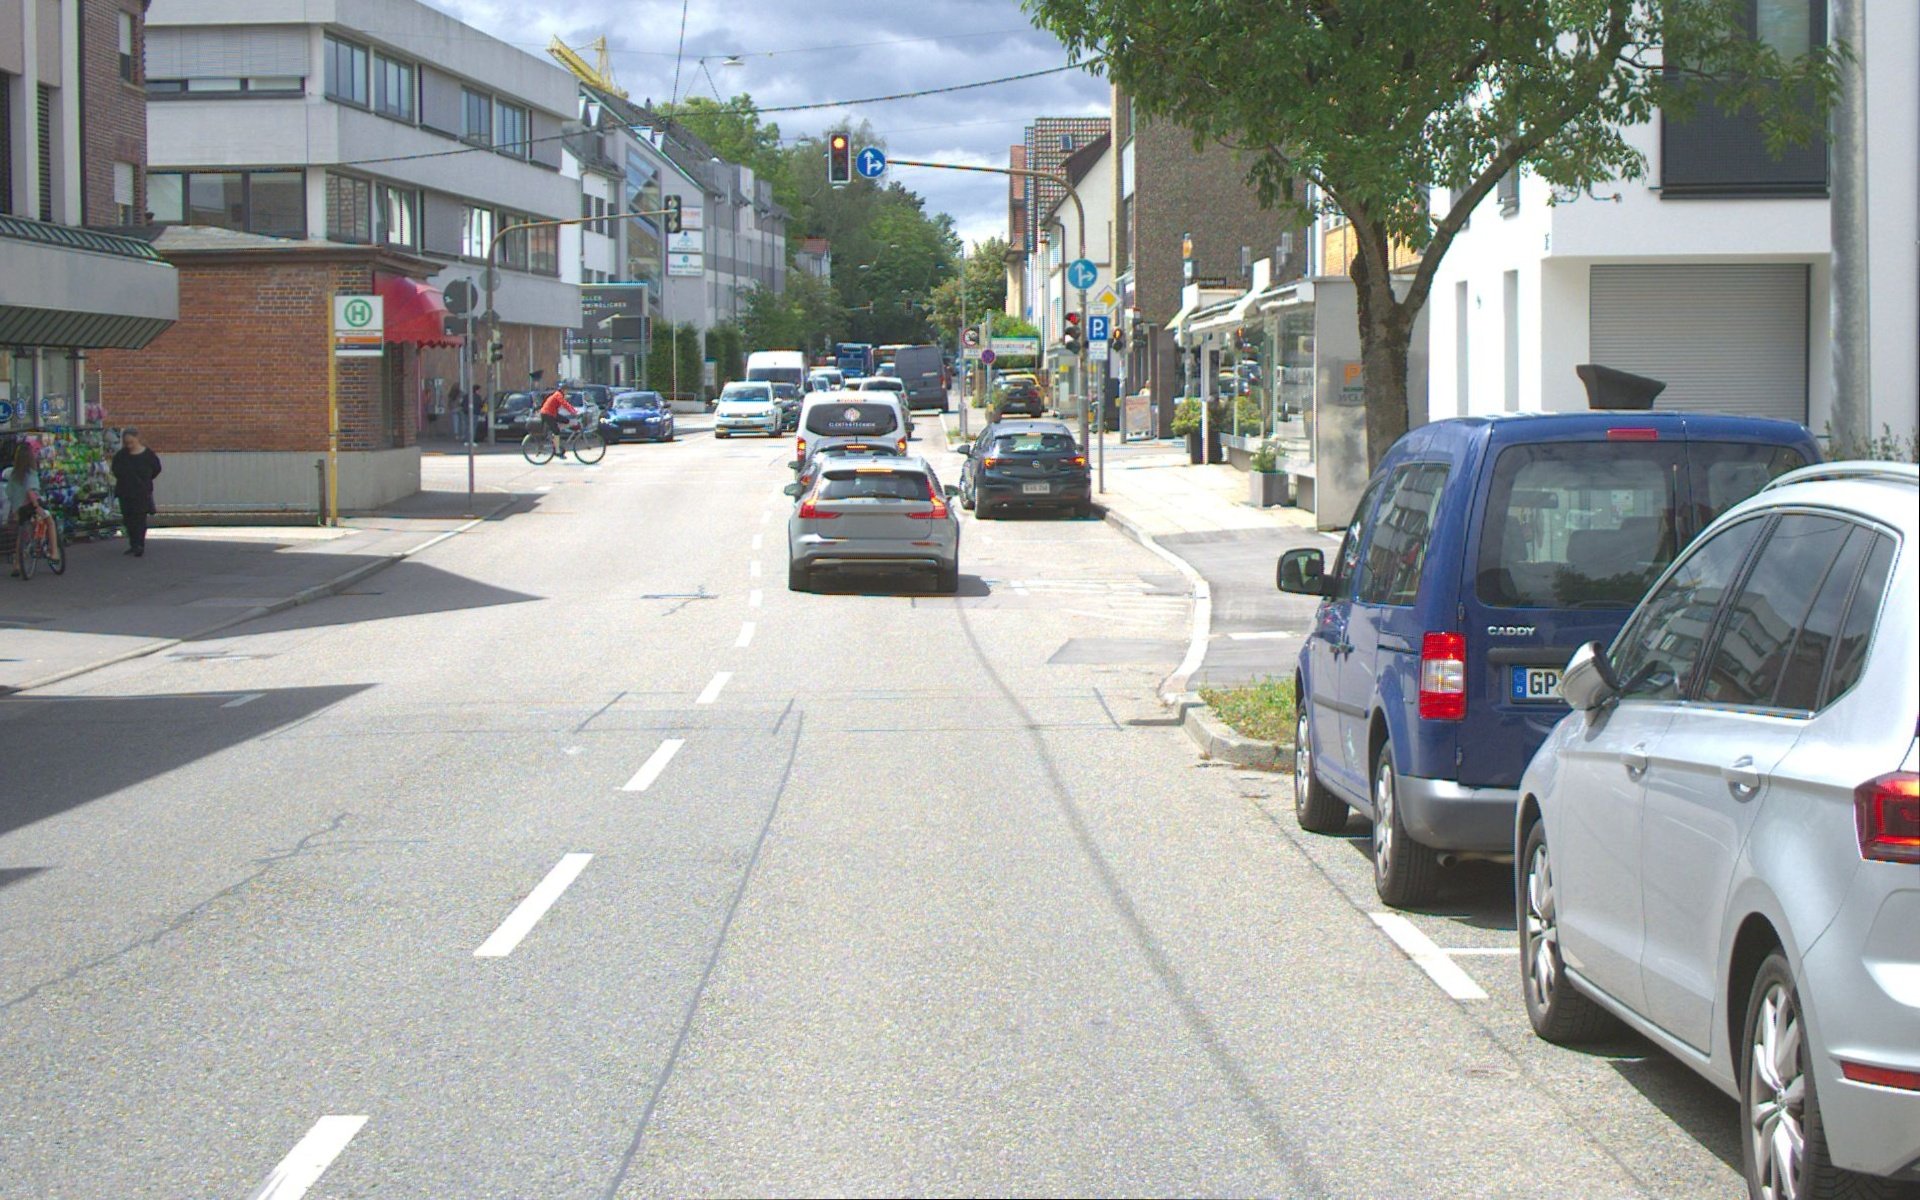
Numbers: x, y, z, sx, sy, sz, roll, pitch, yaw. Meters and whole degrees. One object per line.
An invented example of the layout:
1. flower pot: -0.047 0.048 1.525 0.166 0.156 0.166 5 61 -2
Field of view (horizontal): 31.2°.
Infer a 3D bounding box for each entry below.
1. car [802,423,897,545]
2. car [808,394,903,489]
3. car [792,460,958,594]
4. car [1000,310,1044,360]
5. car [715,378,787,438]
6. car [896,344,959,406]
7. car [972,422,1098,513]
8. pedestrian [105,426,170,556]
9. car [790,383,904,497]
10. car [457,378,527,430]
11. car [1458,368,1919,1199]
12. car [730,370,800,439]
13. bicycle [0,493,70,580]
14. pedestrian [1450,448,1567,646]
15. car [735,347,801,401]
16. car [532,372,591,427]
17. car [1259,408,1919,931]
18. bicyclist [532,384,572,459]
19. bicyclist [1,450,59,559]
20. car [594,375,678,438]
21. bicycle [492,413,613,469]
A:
1. car: -1.538 -1.650 48.144 1.273 1.522 3.051 -1 5 -1
2. car: -2.082 -3.188 69.496 1.836 1.855 3.851 0 2 -1
3. car: -0.927 -0.847 38.486 1.744 1.412 4.001 -1 2 -1
4. car: 2.733 -11.704 151.913 1.802 2.007 4.000 0 1 -1
5. car: -6.127 -5.649 101.284 1.873 1.634 4.001 1 2 -1
6. car: -1.327 -9.014 138.156 2.436 2.310 5.327 1 2 -1
7. car: 1.153 -2.128 54.409 1.753 1.366 4.001 0 3 -2
8. pedestrian: -10.179 -1.353 42.539 0.628 1.597 0.562 1 2 7
9. car: -1.878 -2.675 57.975 1.836 1.855 3.851 0 2 -1
10. car: -13.173 -5.506 96.863 1.551 1.371 3.399 0 1 -1
11. car: 2.397 0.305 8.001 1.786 1.504 4.365 0 2 -1
12. car: -6.068 -6.092 107.423 1.993 2.006 4.001 1 2 -1
13. bicycle: -10.184 -0.710 37.574 0.467 0.858 1.777 1 4 -1
14. pedestrian: 4.661 -0.456 29.194 0.737 1.641 0.616 -2 2 -34
15. car: -6.424 -7.542 115.188 1.873 1.634 4.000 0 1 2
16. car: -11.831 -5.945 102.171 1.384 1.535 3.399 0 1 -1
17. car: 2.359 0.174 13.880 1.844 1.761 4.515 0 2 -1
18. bicyclist: -8.864 -3.871 74.650 0.772 1.601 0.581 0 1 4
19. bicyclist: -10.196 -1.051 37.693 0.458 1.175 0.625 -1 2 -1
20. car: -9.177 -5.465 97.562 1.873 1.634 4.000 1 2 2
21. bicycle: -8.851 -3.456 74.658 2.524 1.170 0.585 -1 2 4
